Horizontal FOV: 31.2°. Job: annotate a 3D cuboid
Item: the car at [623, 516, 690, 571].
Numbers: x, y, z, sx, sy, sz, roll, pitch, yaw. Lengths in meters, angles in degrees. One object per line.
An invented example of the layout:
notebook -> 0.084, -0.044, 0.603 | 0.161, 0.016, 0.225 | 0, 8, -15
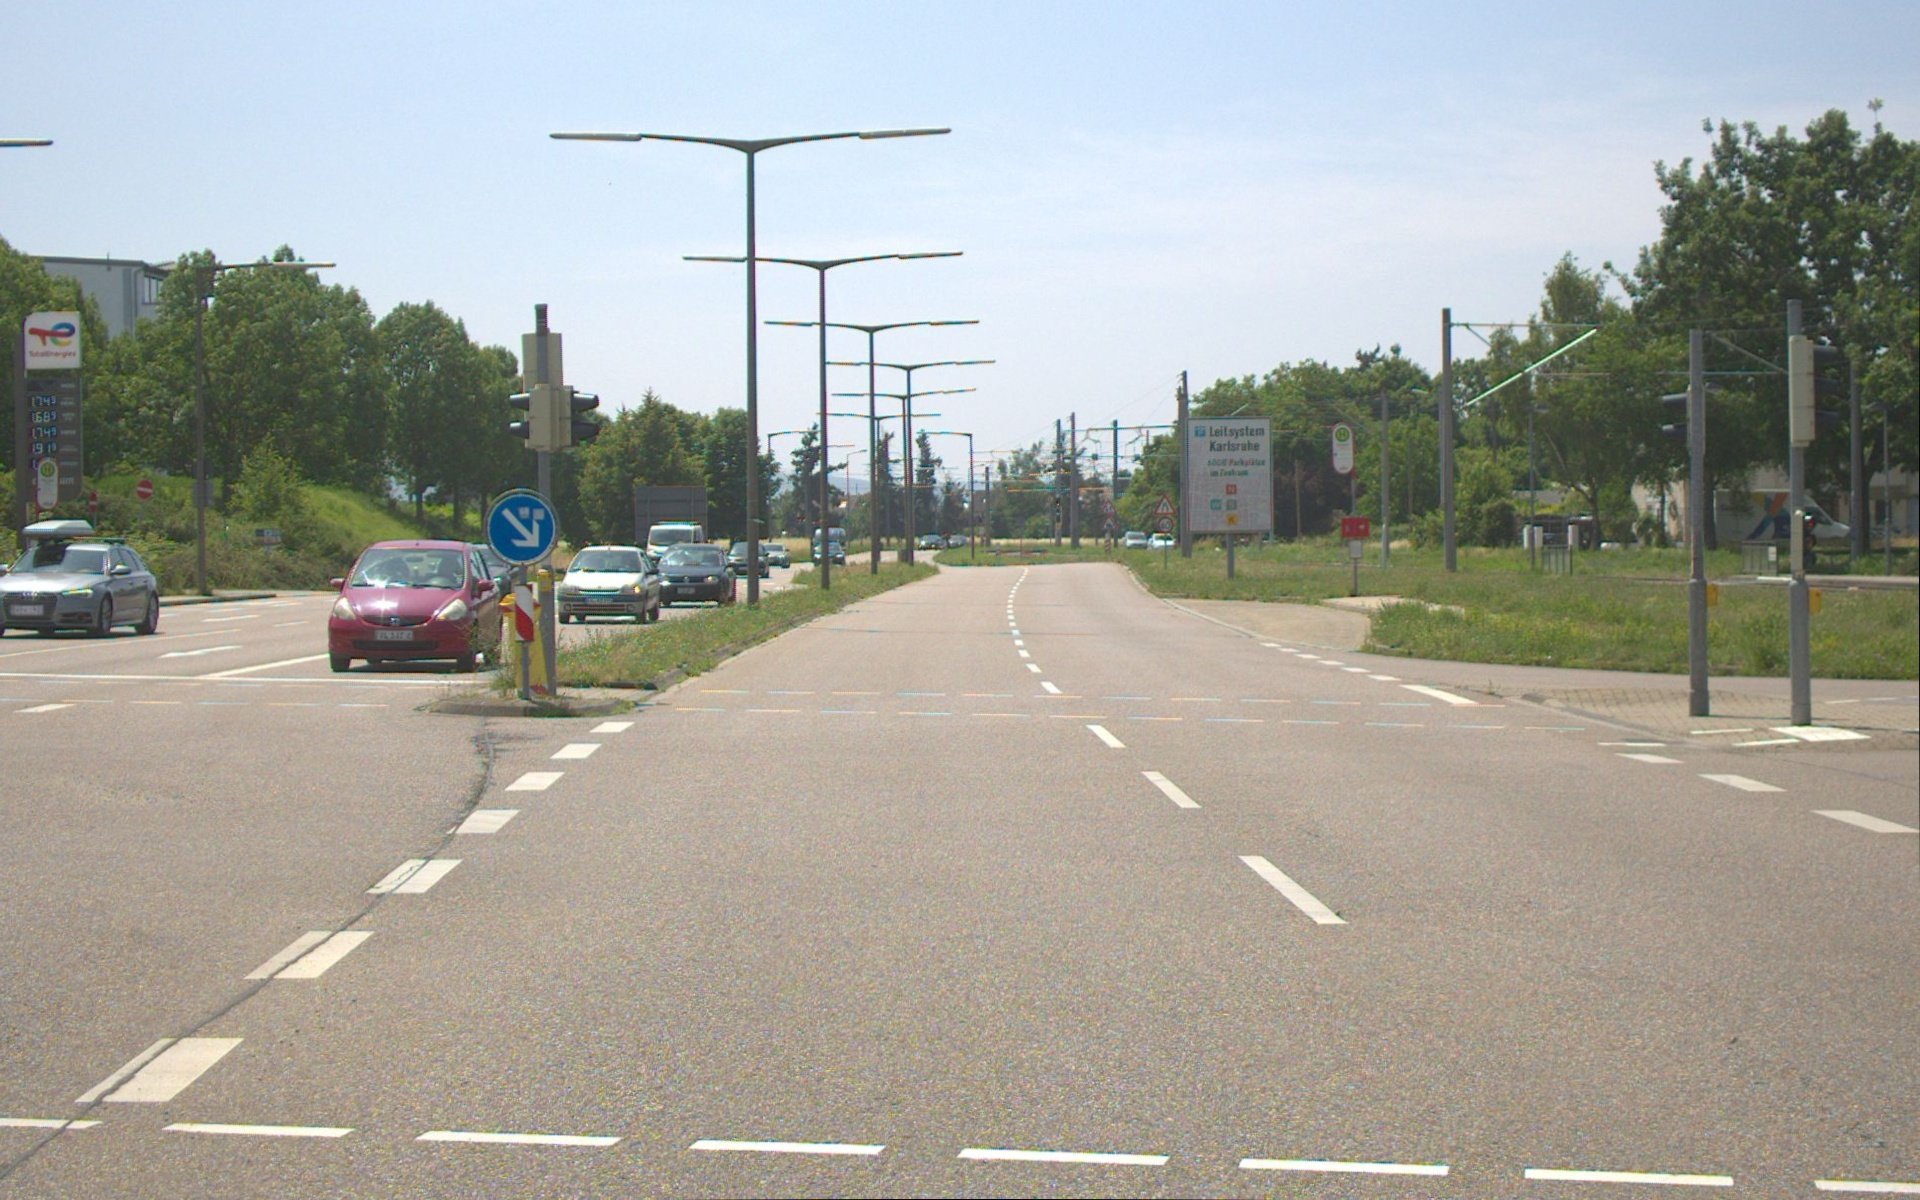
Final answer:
car -> -12.779, -2.379, 145.171 | 2.249, 2.265, 5.449 | 1, 1, 1

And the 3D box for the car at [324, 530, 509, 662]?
car -> -6.437, -0.086, 41.059 | 1.658, 1.485, 4.000 | 0, 1, -1

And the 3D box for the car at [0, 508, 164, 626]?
car -> -13.875, -0.542, 53.376 | 1.964, 1.744, 5.023 | 0, 1, -1

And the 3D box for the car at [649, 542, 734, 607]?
car -> -6.080, -0.603, 78.220 | 1.675, 1.429, 4.191 | 0, 1, -1

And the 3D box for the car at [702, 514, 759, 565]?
car -> -9.337, -2.462, 140.140 | 1.993, 2.007, 4.000 | 1, 0, 1

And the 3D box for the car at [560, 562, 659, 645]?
car -> -6.524, 0.043, 64.242 | 1.560, 1.418, 3.854 | 0, 2, -1

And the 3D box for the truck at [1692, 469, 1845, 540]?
truck -> 34.675, -4.082, 147.507 | 5.839, 2.833, 2.321 | -2, 1, -7

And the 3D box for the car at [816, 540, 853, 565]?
car -> -7.627, -2.899, 209.000 | 1.731, 1.453, 4.564 | -1, 1, 4
